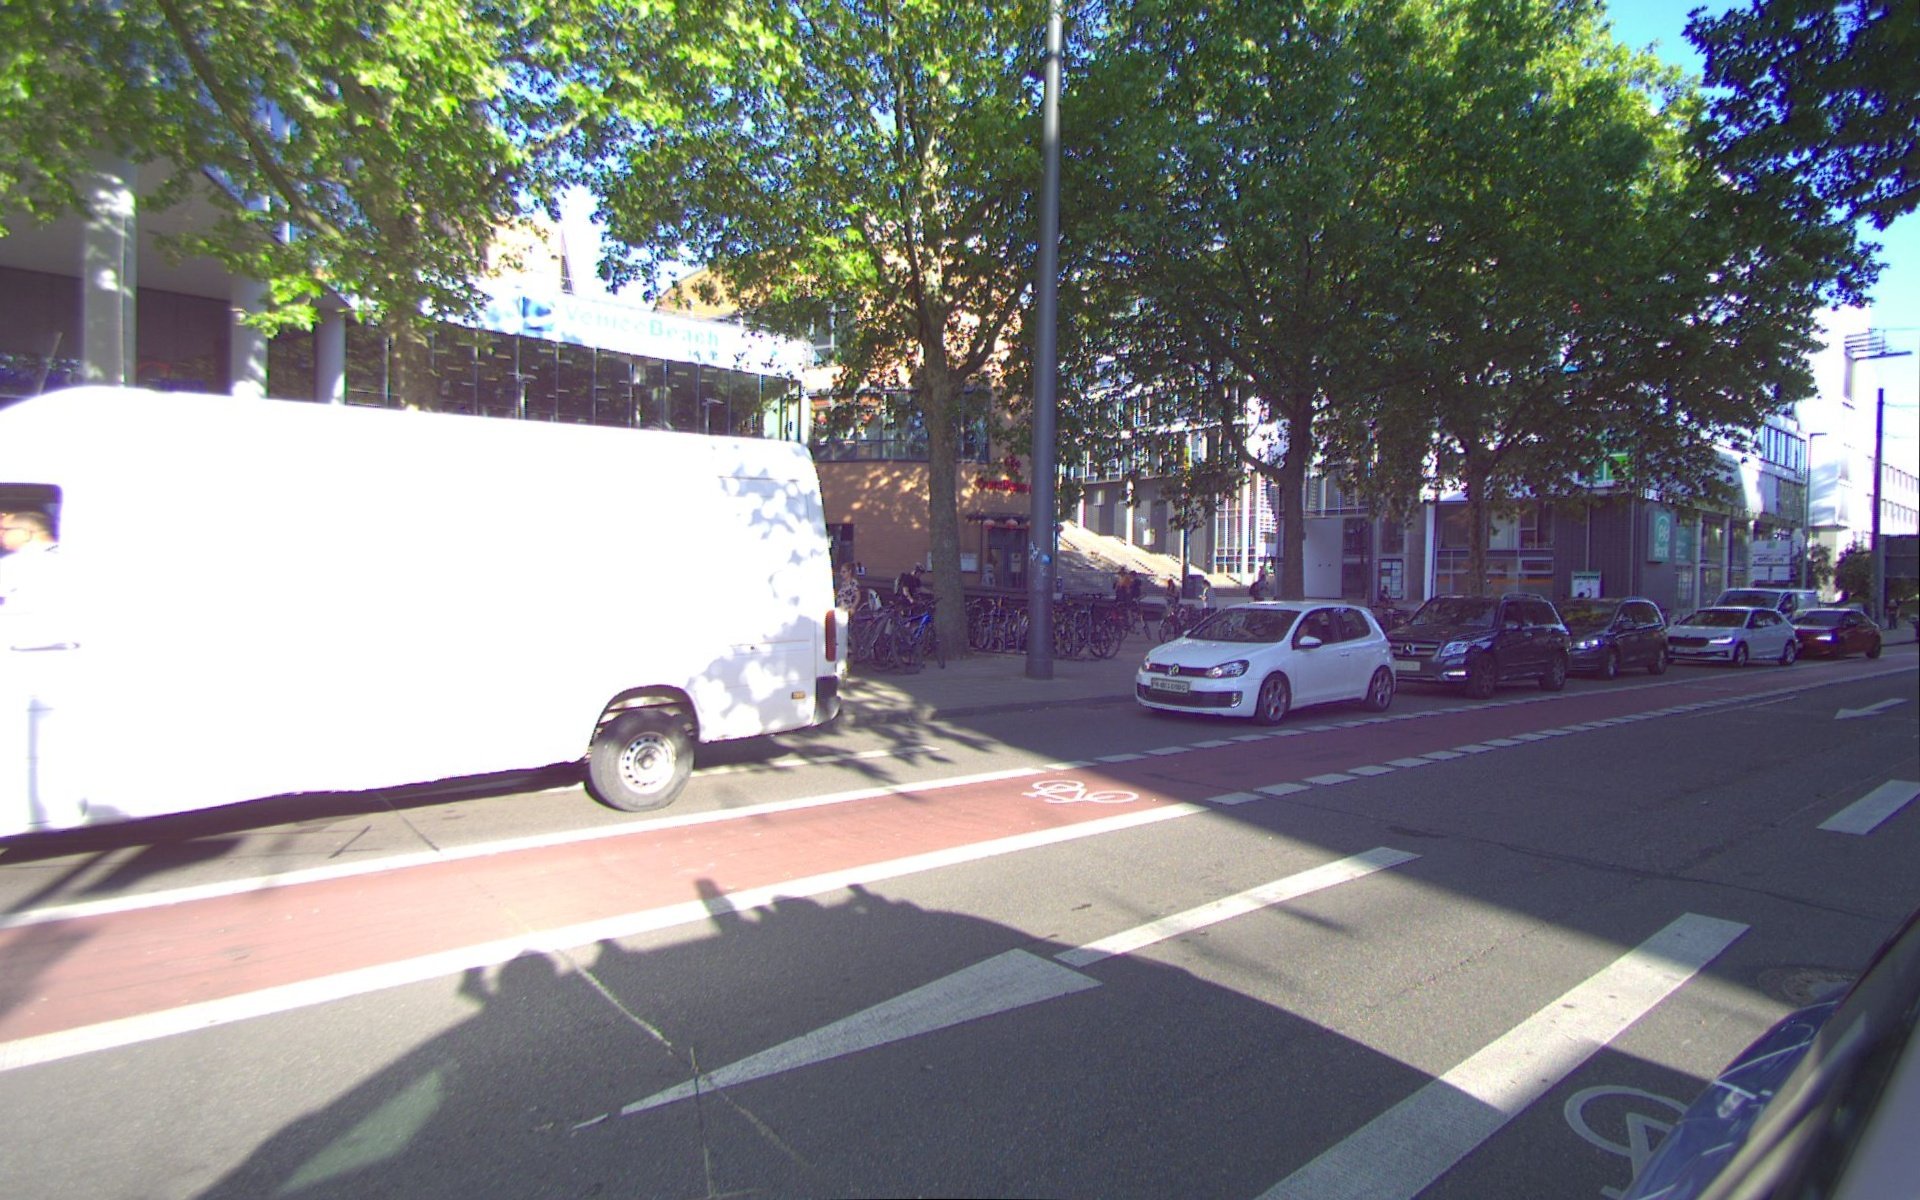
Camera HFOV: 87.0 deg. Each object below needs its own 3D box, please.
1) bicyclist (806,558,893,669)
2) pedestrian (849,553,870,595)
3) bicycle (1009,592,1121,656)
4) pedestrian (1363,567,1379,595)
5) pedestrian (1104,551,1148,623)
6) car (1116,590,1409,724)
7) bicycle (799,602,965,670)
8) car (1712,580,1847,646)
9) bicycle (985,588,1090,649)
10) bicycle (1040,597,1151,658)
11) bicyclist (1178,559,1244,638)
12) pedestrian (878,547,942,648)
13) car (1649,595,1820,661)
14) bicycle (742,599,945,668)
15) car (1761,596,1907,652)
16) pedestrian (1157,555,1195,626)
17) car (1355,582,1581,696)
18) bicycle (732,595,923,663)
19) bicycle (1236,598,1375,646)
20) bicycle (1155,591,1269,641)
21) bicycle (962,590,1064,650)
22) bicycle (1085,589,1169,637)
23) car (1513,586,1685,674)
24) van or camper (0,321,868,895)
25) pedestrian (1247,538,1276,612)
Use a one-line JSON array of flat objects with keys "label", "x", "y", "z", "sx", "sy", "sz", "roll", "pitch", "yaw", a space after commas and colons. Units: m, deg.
[{"label": "bicyclist", "x": -1.711, "y": 0.199, "z": 15.615, "sx": 1.005, "sy": 1.641, "sz": 0.902, "roll": 0, "pitch": 0, "yaw": -41}, {"label": "pedestrian", "x": -4.274, "y": -1.094, "z": 43.081, "sx": 0.637, "sy": 1.765, "sz": 0.663, "roll": 2, "pitch": 1, "yaw": 17}, {"label": "bicycle", "x": 2.089, "y": 0.447, "z": 19.866, "sx": 2.355, "sy": 1.177, "sz": 0.750, "roll": -1, "pitch": 0, "yaw": -40}, {"label": "pedestrian", "x": 29.592, "y": -1.363, "z": 72.903, "sx": 0.860, "sy": 2.039, "sz": 0.796, "roll": 0, "pitch": 0, "yaw": -41}, {"label": "pedestrian", "x": 5.340, "y": -0.425, "z": 32.626, "sx": 1.195, "sy": 2.276, "sz": 1.052, "roll": 0, "pitch": 0, "yaw": -3}, {"label": "car", "x": 3.928, "y": 0.614, "z": 12.872, "sx": 3.914, "sy": 1.446, "sz": 1.639, "roll": 0, "pitch": 0, "yaw": -38}, {"label": "bicycle", "x": -1.196, "y": 0.532, "z": 16.047, "sx": 2.591, "sy": 0.960, "sz": 0.924, "roll": -1, "pitch": 0, "yaw": -41}, {"label": "car", "x": 26.617, "y": 0.384, "z": 32.795, "sx": 5.806, "sy": 1.989, "sz": 1.934, "roll": 0, "pitch": 0, "yaw": -35}, {"label": "bicycle", "x": 1.598, "y": 0.351, "z": 20.506, "sx": 2.263, "sy": 1.177, "sz": 0.671, "roll": -1, "pitch": 0, "yaw": -38}, {"label": "bicycle", "x": 2.577, "y": 0.487, "z": 19.053, "sx": 2.295, "sy": 1.073, "sz": 0.682, "roll": -1, "pitch": 1, "yaw": -39}, {"label": "bicyclist", "x": 6.608, "y": -0.061, "z": 26.676, "sx": 1.132, "sy": 2.039, "sz": 1.301, "roll": 0, "pitch": 1, "yaw": -24}, {"label": "pedestrian", "x": -1.036, "y": -0.068, "z": 21.117, "sx": 0.922, "sy": 2.039, "sz": 1.085, "roll": 2, "pitch": 1, "yaw": 24}, {"label": "car", "x": 19.287, "y": 0.655, "z": 25.194, "sx": 4.110, "sy": 1.508, "sz": 1.839, "roll": 0, "pitch": 0, "yaw": -28}, {"label": "bicycle", "x": -1.863, "y": 0.500, "z": 16.824, "sx": 3.352, "sy": 1.014, "sz": 1.050, "roll": -1, "pitch": 0, "yaw": -41}, {"label": "car", "x": 25.021, "y": 0.643, "z": 28.946, "sx": 4.110, "sy": 1.508, "sz": 1.839, "roll": 0, "pitch": -1, "yaw": -29}, {"label": "pedestrian", "x": 7.009, "y": -0.312, "z": 32.897, "sx": 0.884, "sy": 2.261, "sz": 0.845, "roll": 0, "pitch": 0, "yaw": -19}, {"label": "car", "x": 8.419, "y": 0.555, "z": 16.636, "sx": 4.173, "sy": 1.656, "sz": 1.769, "roll": 0, "pitch": 0, "yaw": -39}, {"label": "bicycle", "x": -2.308, "y": 0.467, "z": 18.113, "sx": 3.352, "sy": 1.013, "sz": 1.051, "roll": -1, "pitch": 6, "yaw": -41}, {"label": "bicycle", "x": 8.098, "y": 0.491, "z": 23.708, "sx": 3.136, "sy": 1.038, "sz": 0.979, "roll": 0, "pitch": 0, "yaw": -18}, {"label": "bicycle", "x": 6.583, "y": 0.386, "z": 26.734, "sx": 1.124, "sy": 1.097, "sz": 3.342, "roll": 0, "pitch": 2, "yaw": -23}, {"label": "bicycle", "x": 1.118, "y": 0.382, "z": 21.052, "sx": 2.251, "sy": 1.177, "sz": 0.657, "roll": -1, "pitch": 0, "yaw": -38}, {"label": "bicycle", "x": 4.498, "y": 0.314, "z": 27.110, "sx": 2.653, "sy": 1.215, "sz": 0.698, "roll": -1, "pitch": 1, "yaw": -41}, {"label": "car", "x": 13.437, "y": 0.559, "z": 21.192, "sx": 4.310, "sy": 1.656, "sz": 1.710, "roll": 0, "pitch": 0, "yaw": -38}, {"label": "van or camper", "x": -3.799, "y": 0.009, "z": 6.516, "sx": 6.383, "sy": 2.647, "sz": 2.004, "roll": 0, "pitch": 1, "yaw": -40}, {"label": "pedestrian", "x": 11.112, "y": -0.904, "z": 37.296, "sx": 0.967, "sy": 2.681, "sz": 0.897, "roll": 0, "pitch": 0, "yaw": 18}]
